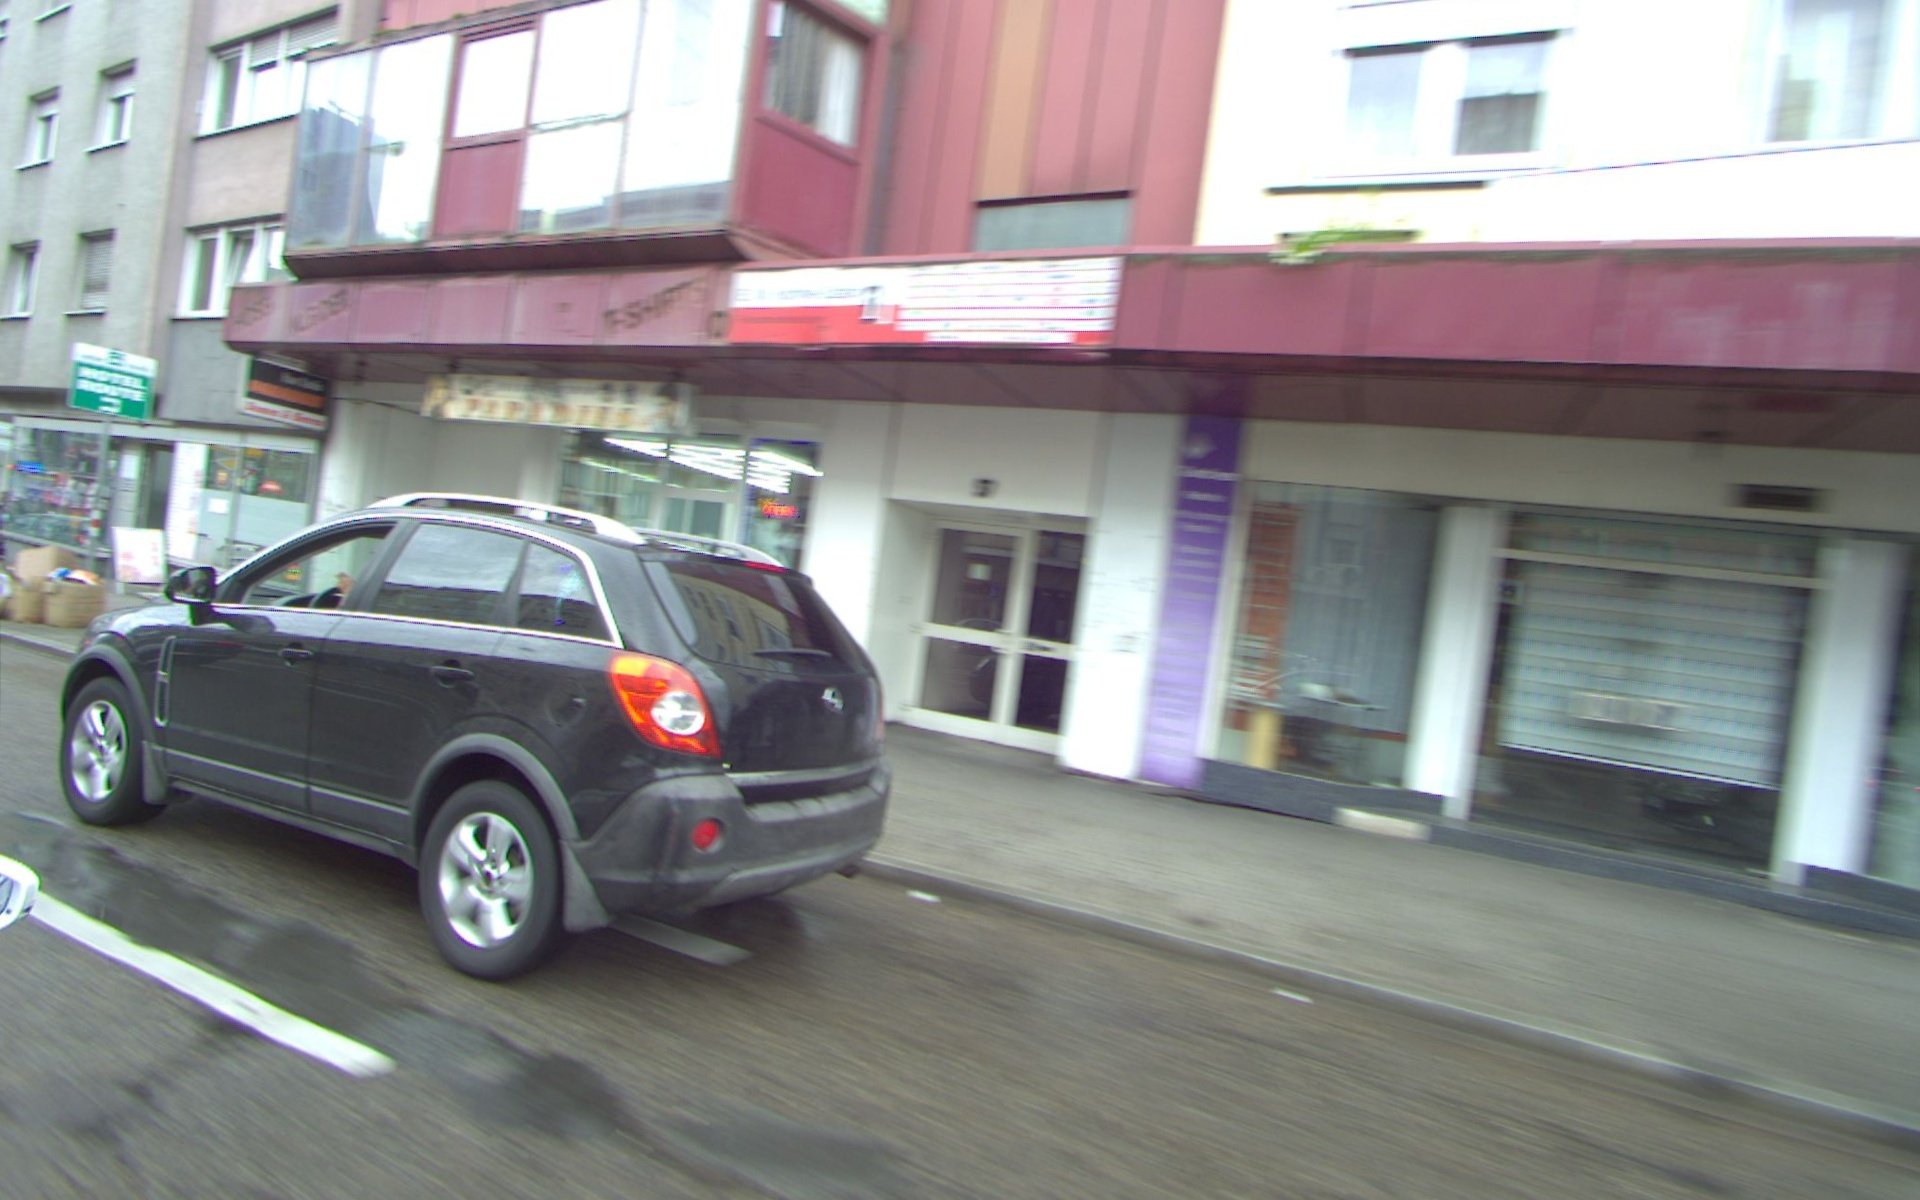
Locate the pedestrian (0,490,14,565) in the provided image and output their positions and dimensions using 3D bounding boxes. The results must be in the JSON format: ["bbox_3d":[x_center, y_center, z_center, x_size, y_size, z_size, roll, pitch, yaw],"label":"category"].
[{"bbox_3d":[-24.736,-1.872,25.559,0.648,1.888,0.836,3,0,32],"label":"pedestrian"}]

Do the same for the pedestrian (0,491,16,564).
[{"bbox_3d":[-23.590,-1.783,24.386,0.608,1.743,0.835,4,-1,36],"label":"pedestrian"}]

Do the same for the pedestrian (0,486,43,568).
[{"bbox_3d":[-23.933,-1.839,25.454,0.721,1.955,0.818,5,-1,36],"label":"pedestrian"}]

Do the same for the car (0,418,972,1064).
[{"bbox_3d":[-2.348,0.335,4.873,4.225,1.807,1.912,8,0,26],"label":"car"}]
